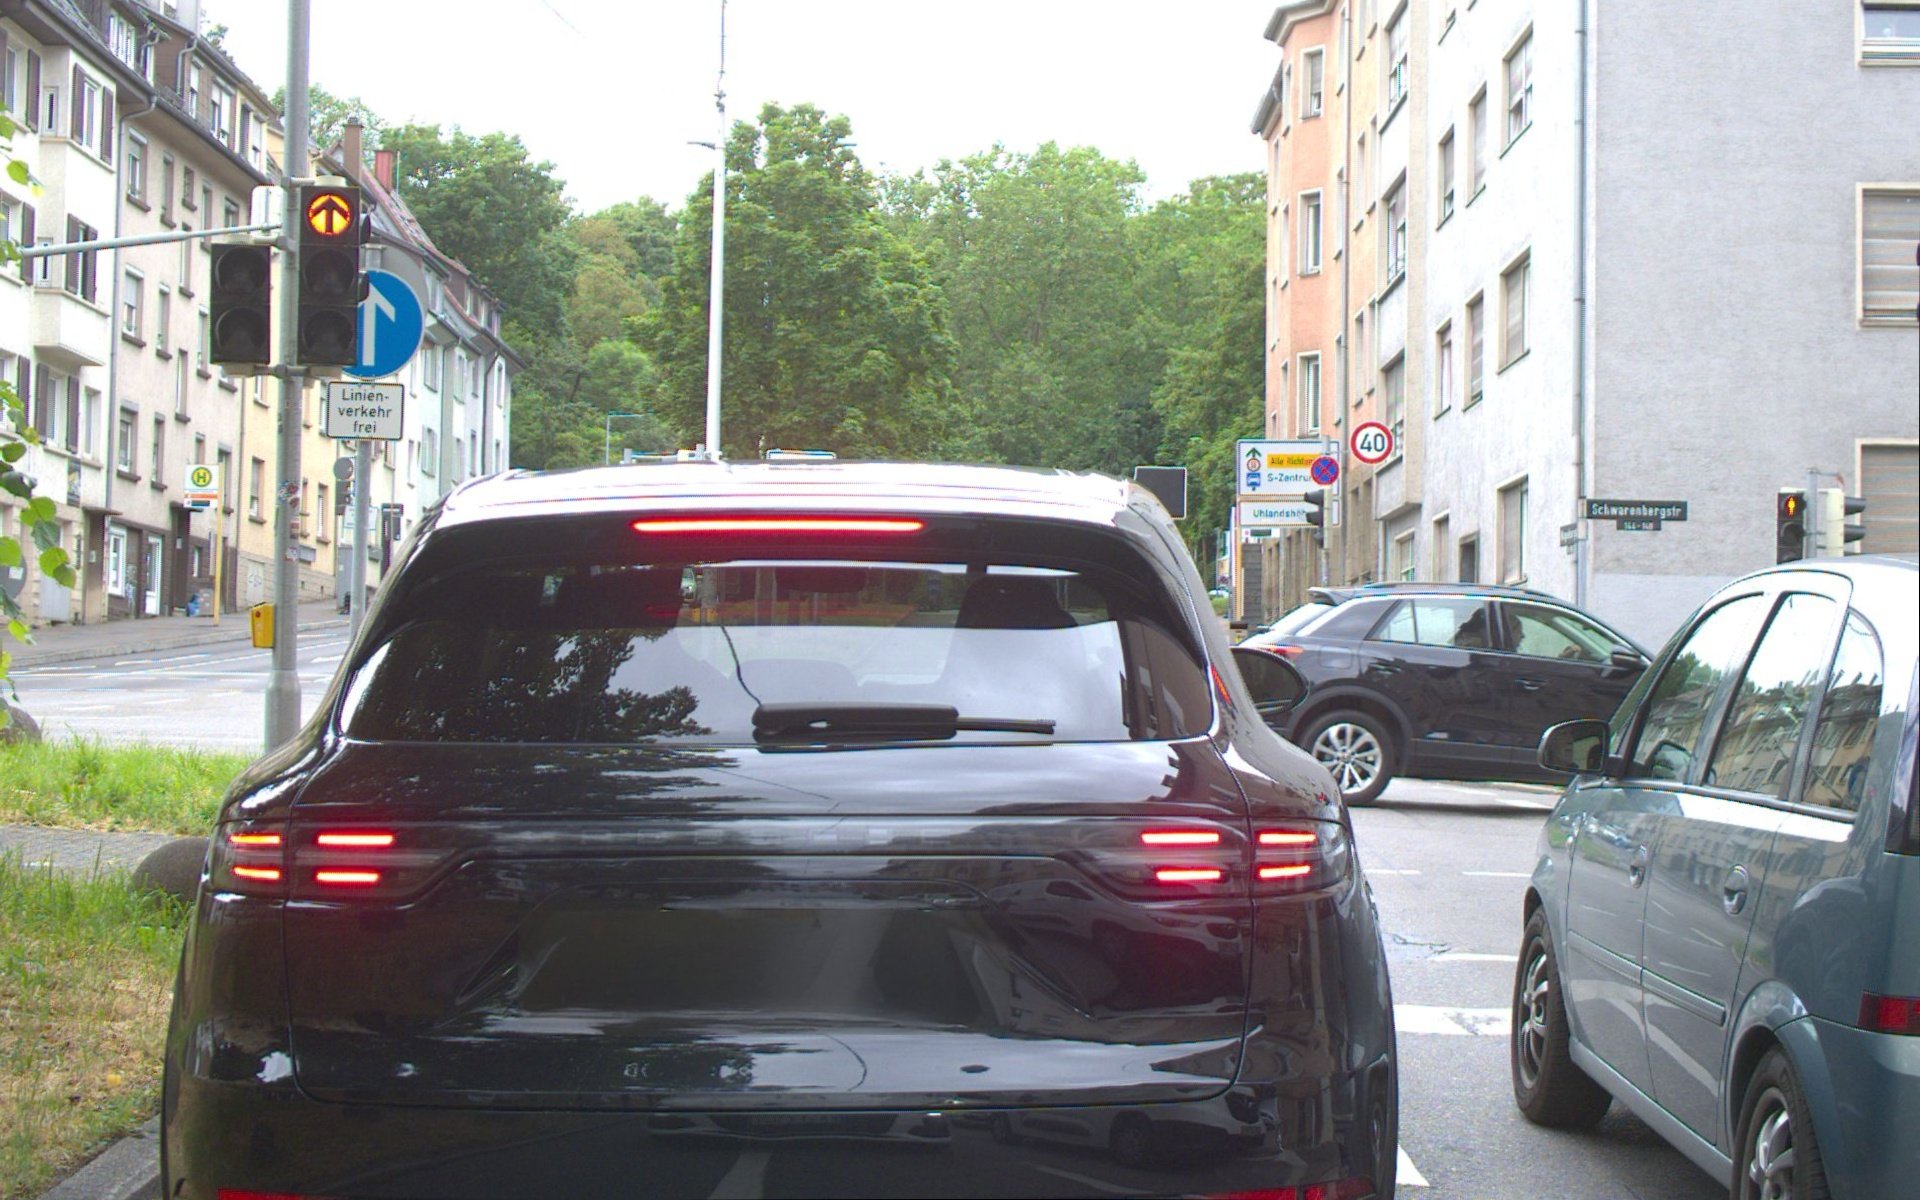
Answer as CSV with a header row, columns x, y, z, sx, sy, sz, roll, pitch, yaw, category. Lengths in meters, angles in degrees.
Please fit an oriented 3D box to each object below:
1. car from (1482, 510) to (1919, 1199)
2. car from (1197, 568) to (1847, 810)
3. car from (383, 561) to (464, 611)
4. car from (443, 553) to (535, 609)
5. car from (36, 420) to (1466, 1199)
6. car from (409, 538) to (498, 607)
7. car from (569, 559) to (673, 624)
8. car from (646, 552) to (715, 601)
x,y,z,sx,sy,sz,roll,pitch,yaw,category
2.358,0.671,7.875,1.628,1.592,3.669,4,1,-1,car
3.844,0.601,24.003,4.237,1.516,1.666,2,0,1,car
-15.438,-0.420,99.022,1.739,1.382,3.814,1,1,0,car
-12.893,-0.526,94.262,1.844,1.481,3.898,1,1,2,car
-0.309,0.570,6.709,1.955,1.669,4.000,0,1,-1,car
-15.396,-0.839,104.661,2.016,2.038,4.667,1,1,0,car
-7.413,-0.202,75.527,1.862,1.383,4.094,1,1,0,car
-9.499,-0.806,117.149,1.974,1.605,4.558,1,1,0,car
